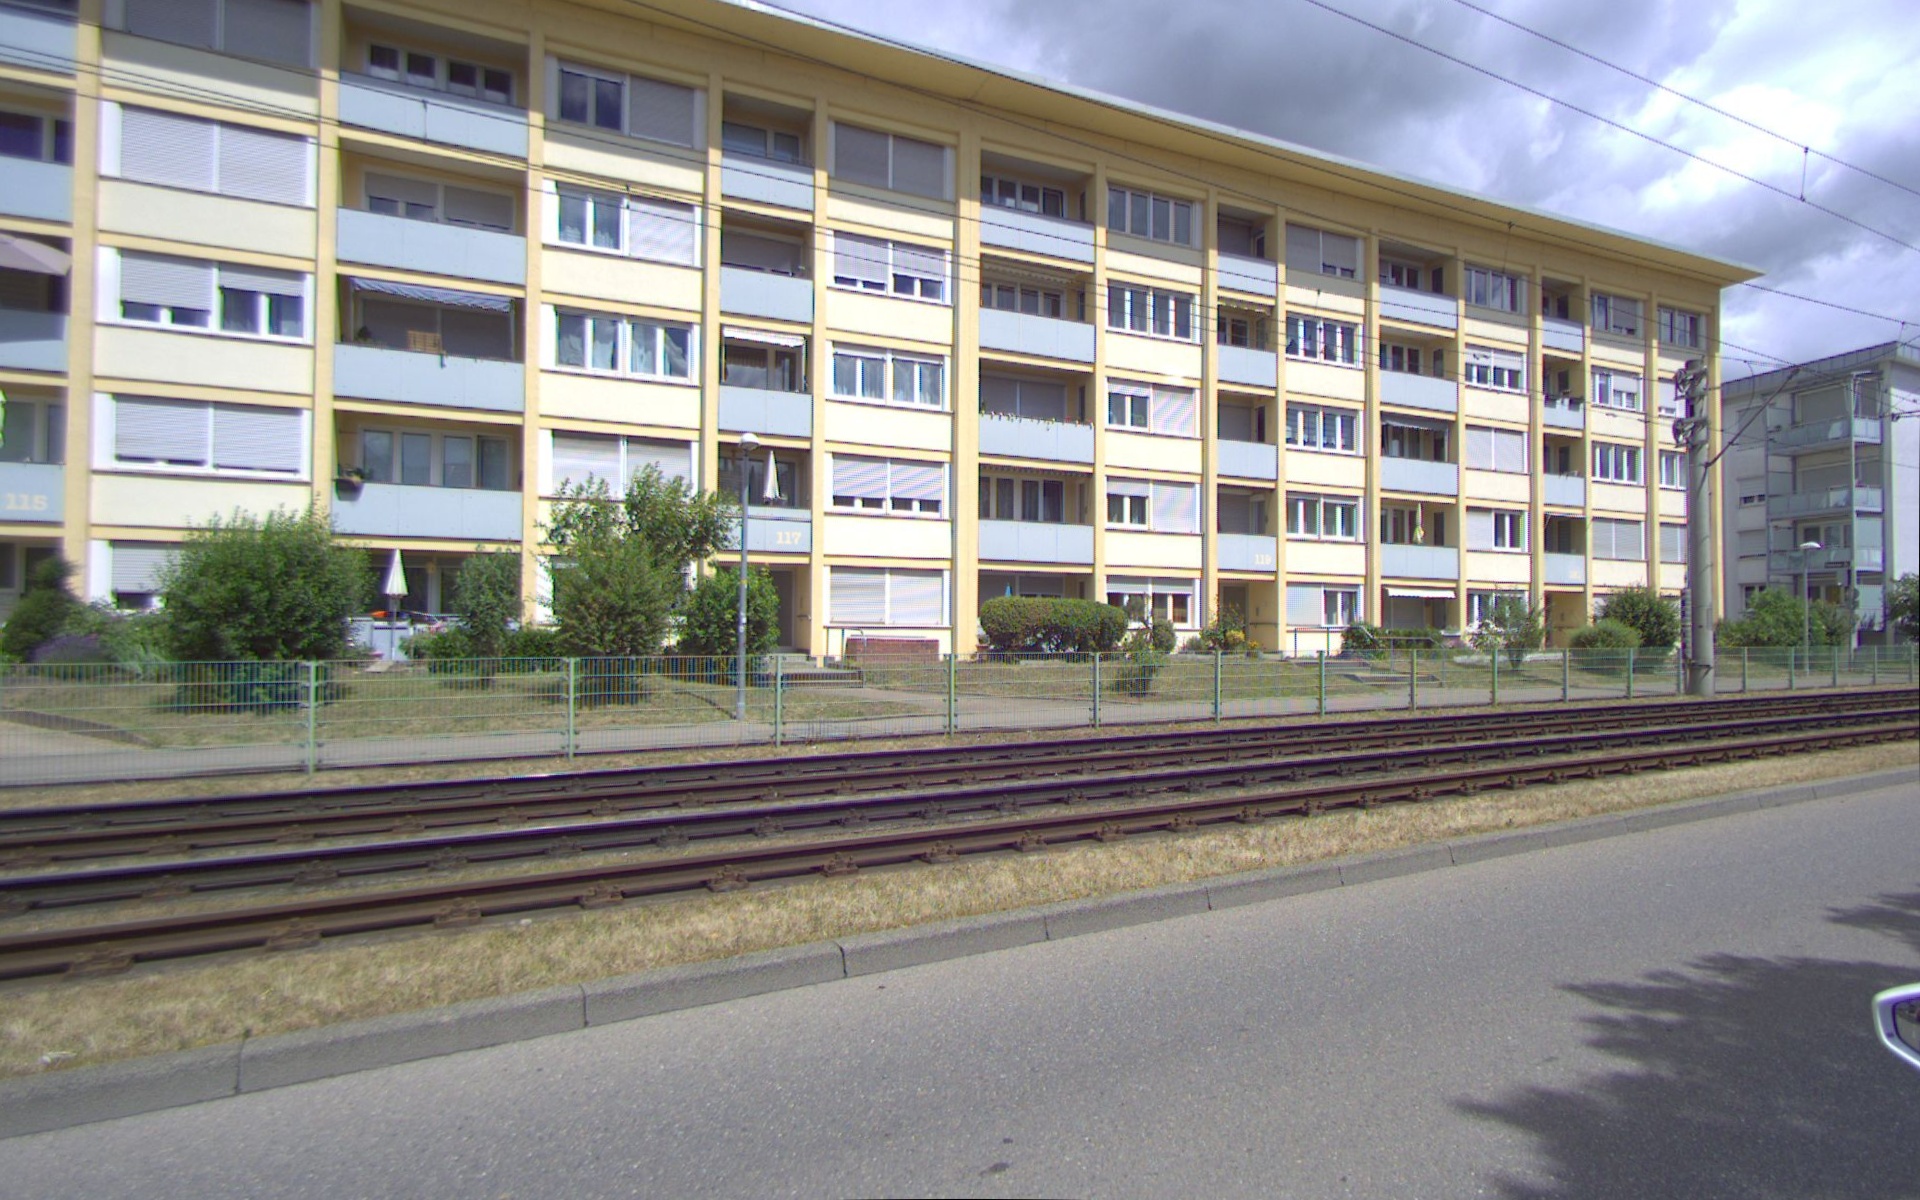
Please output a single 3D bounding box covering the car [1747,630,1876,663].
[{"bbox_3d":[37.572,2.029,44.439,1.872,1.363,3.982,1,-2,-20],"label":"car"}]
